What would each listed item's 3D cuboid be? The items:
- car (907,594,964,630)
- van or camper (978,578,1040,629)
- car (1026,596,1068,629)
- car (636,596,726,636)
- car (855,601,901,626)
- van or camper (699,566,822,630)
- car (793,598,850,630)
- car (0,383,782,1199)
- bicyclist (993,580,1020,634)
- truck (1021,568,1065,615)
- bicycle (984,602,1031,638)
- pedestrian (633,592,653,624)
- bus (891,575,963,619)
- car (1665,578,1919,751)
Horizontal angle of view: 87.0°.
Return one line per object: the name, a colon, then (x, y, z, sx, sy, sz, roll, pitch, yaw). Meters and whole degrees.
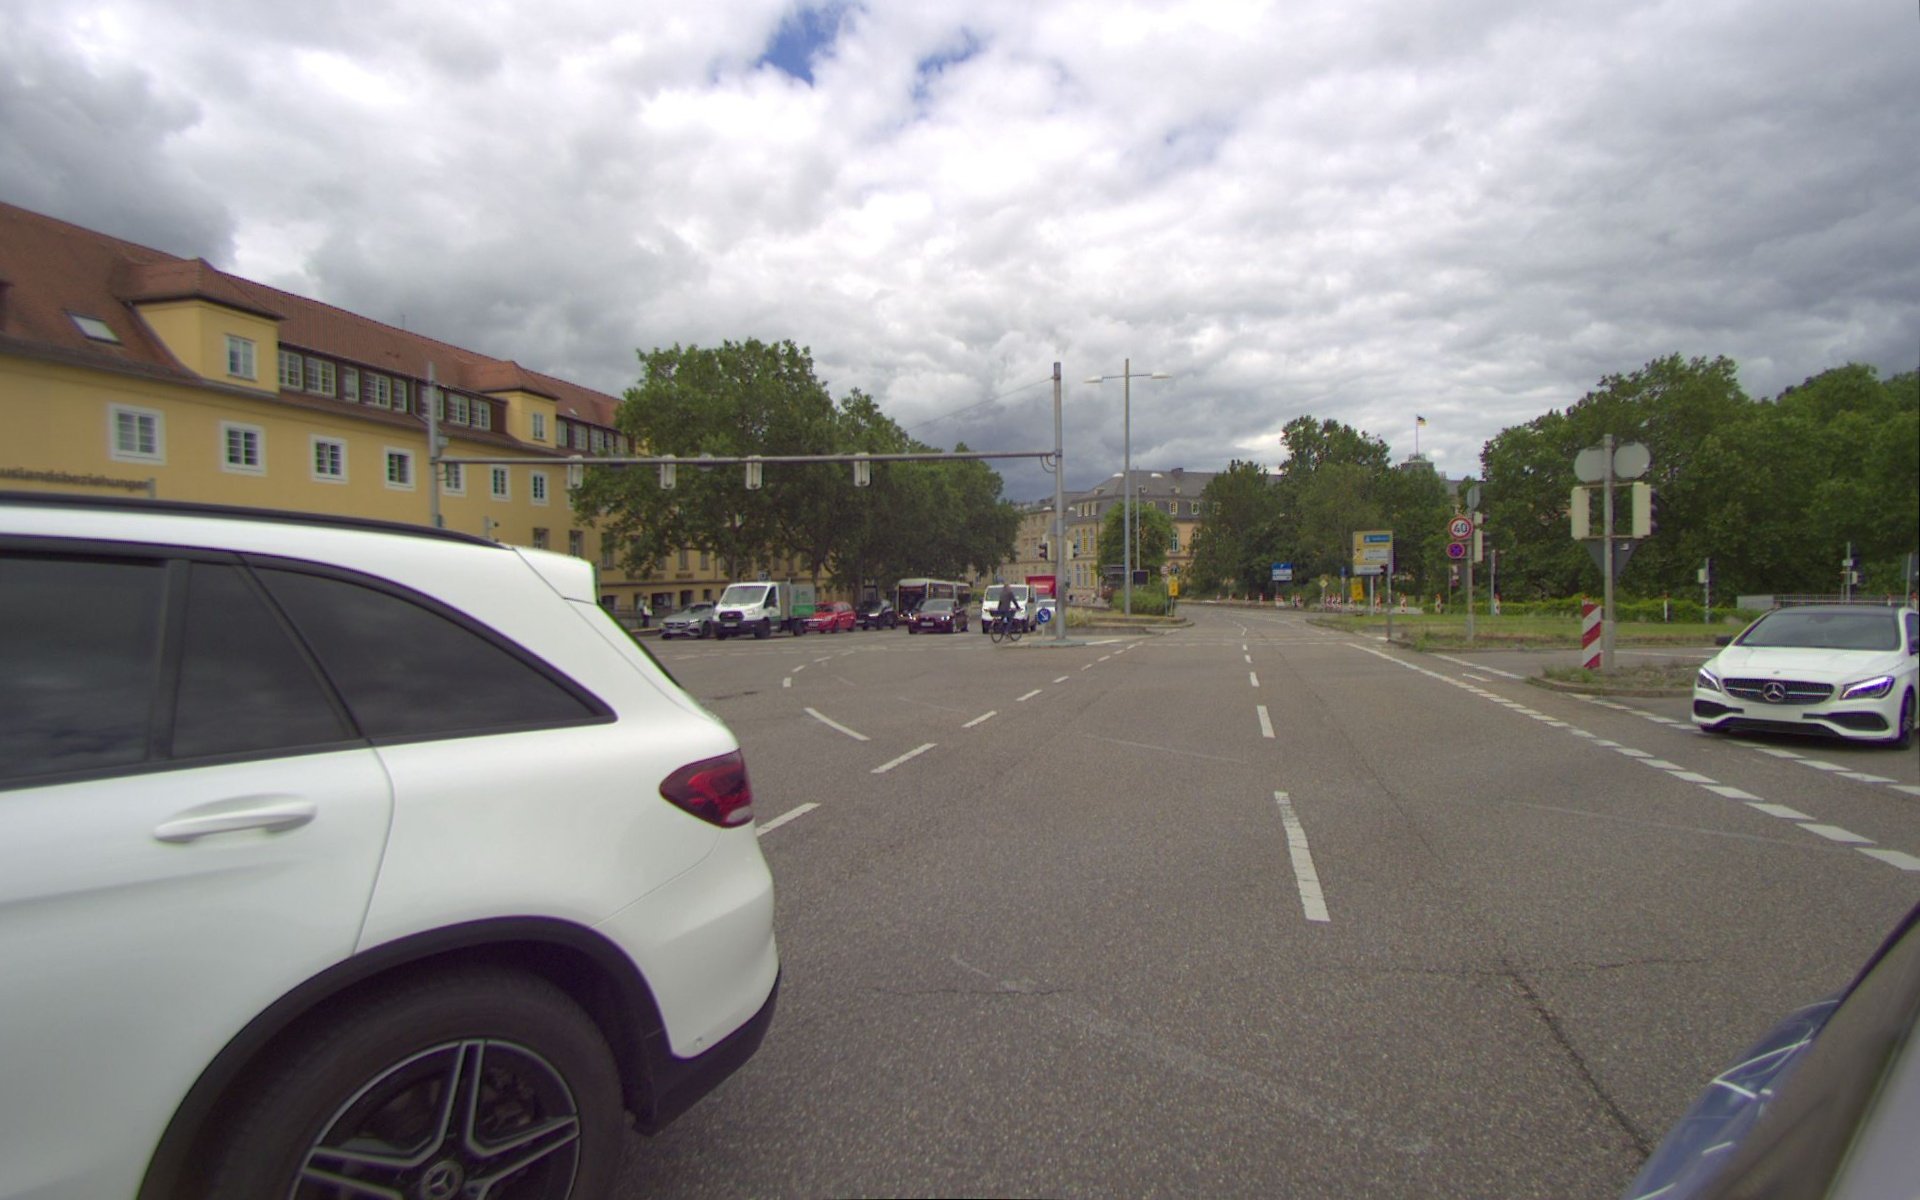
car: (-0.982, 0.475, 42.011, 1.712, 1.418, 3.701, 0, 0, 9)
van or camper: (2.052, 0.114, 41.128, 1.837, 1.941, 4.698, 0, 0, 11)
car: (5.013, 0.661, 57.595, 1.969, 1.776, 3.947, 0, 0, 11)
car: (-10.715, 0.573, 39.178, 1.800, 1.426, 3.987, -1, 1, 11)
car: (-4.281, 0.685, 53.235, 1.598, 1.251, 3.227, 0, 0, 12)
van or camper: (-7.652, -0.057, 39.646, 2.340, 2.291, 6.260, 0, 0, 14)
car: (-6.180, 0.608, 45.500, 1.590, 1.372, 3.475, 0, 0, 10)
car: (-2.586, 0.525, 1.562, 4.258, 1.667, 1.805, 0, 0, -41)
bicyclist: (1.461, 0.219, 31.579, 0.503, 1.660, 0.711, 0, 0, 42)
truck: (6.780, -0.689, 81.877, 2.748, 3.534, 8.324, 0, 0, 11)
bicycle: (1.495, 0.618, 31.614, 0.503, 1.086, 1.703, 0, 0, 41)
pedestrian: (-14.206, 0.361, 45.375, 0.670, 1.397, 0.577, 0, 0, 9)
bus: (-2.409, -0.287, 80.732, 3.379, 3.244, 13.029, -1, 1, 9)
car: (9.941, 0.561, 11.411, 4.564, 1.589, 1.871, -1, 0, -36)
